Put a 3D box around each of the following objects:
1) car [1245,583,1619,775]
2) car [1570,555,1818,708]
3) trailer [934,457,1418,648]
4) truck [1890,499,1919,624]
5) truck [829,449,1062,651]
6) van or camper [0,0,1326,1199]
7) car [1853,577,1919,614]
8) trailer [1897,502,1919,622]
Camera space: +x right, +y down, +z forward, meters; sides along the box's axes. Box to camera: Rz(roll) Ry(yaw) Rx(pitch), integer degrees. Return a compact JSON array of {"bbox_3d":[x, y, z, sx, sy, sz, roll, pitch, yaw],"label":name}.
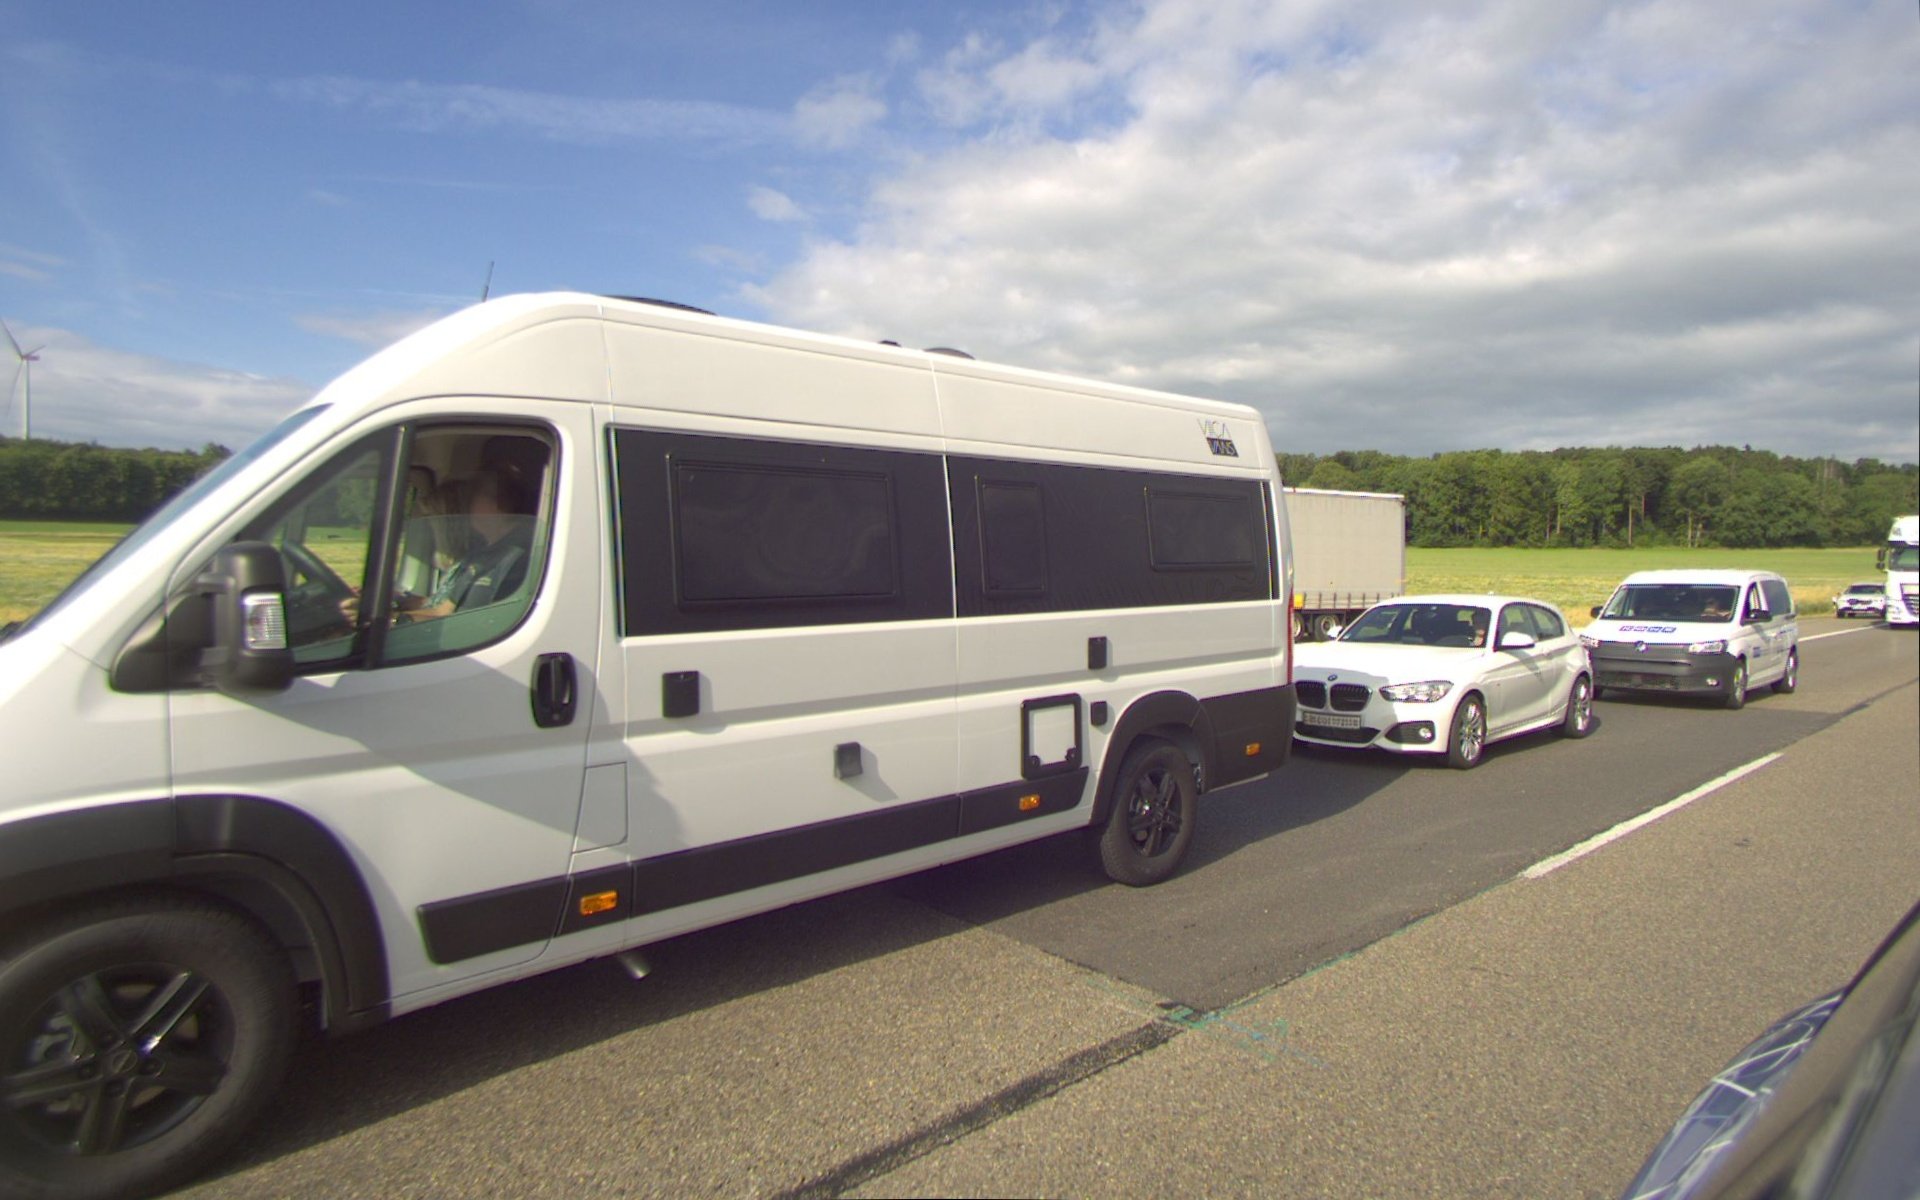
[{"bbox_3d":[4.640,0.571,9.666,4.158,1.450,1.706,-1,1,-41],"label":"car"},{"bbox_3d":[10.207,0.339,13.933,4.620,1.779,1.727,-1,0,-41],"label":"car"},{"bbox_3d":[6.060,-1.085,26.458,13.543,4.213,2.749,0,0,-26],"label":"trailer"},{"bbox_3d":[34.923,-1.368,35.536,5.667,4.226,2.733,-2,1,-41],"label":"truck"},{"bbox_3d":[-0.353,-1.063,23.335,4.662,4.226,2.727,0,0,-26],"label":"truck"},{"bbox_3d":[-0.964,-0.015,4.595,6.222,2.714,2.219,-1,1,-41],"label":"van or camper"},{"bbox_3d":[42.876,-0.238,46.768,4.595,1.612,1.807,-1,2,-41],"label":"car"},{"bbox_3d":[39.242,-1.498,39.324,13.777,4.212,2.740,-2,1,-41],"label":"trailer"}]
